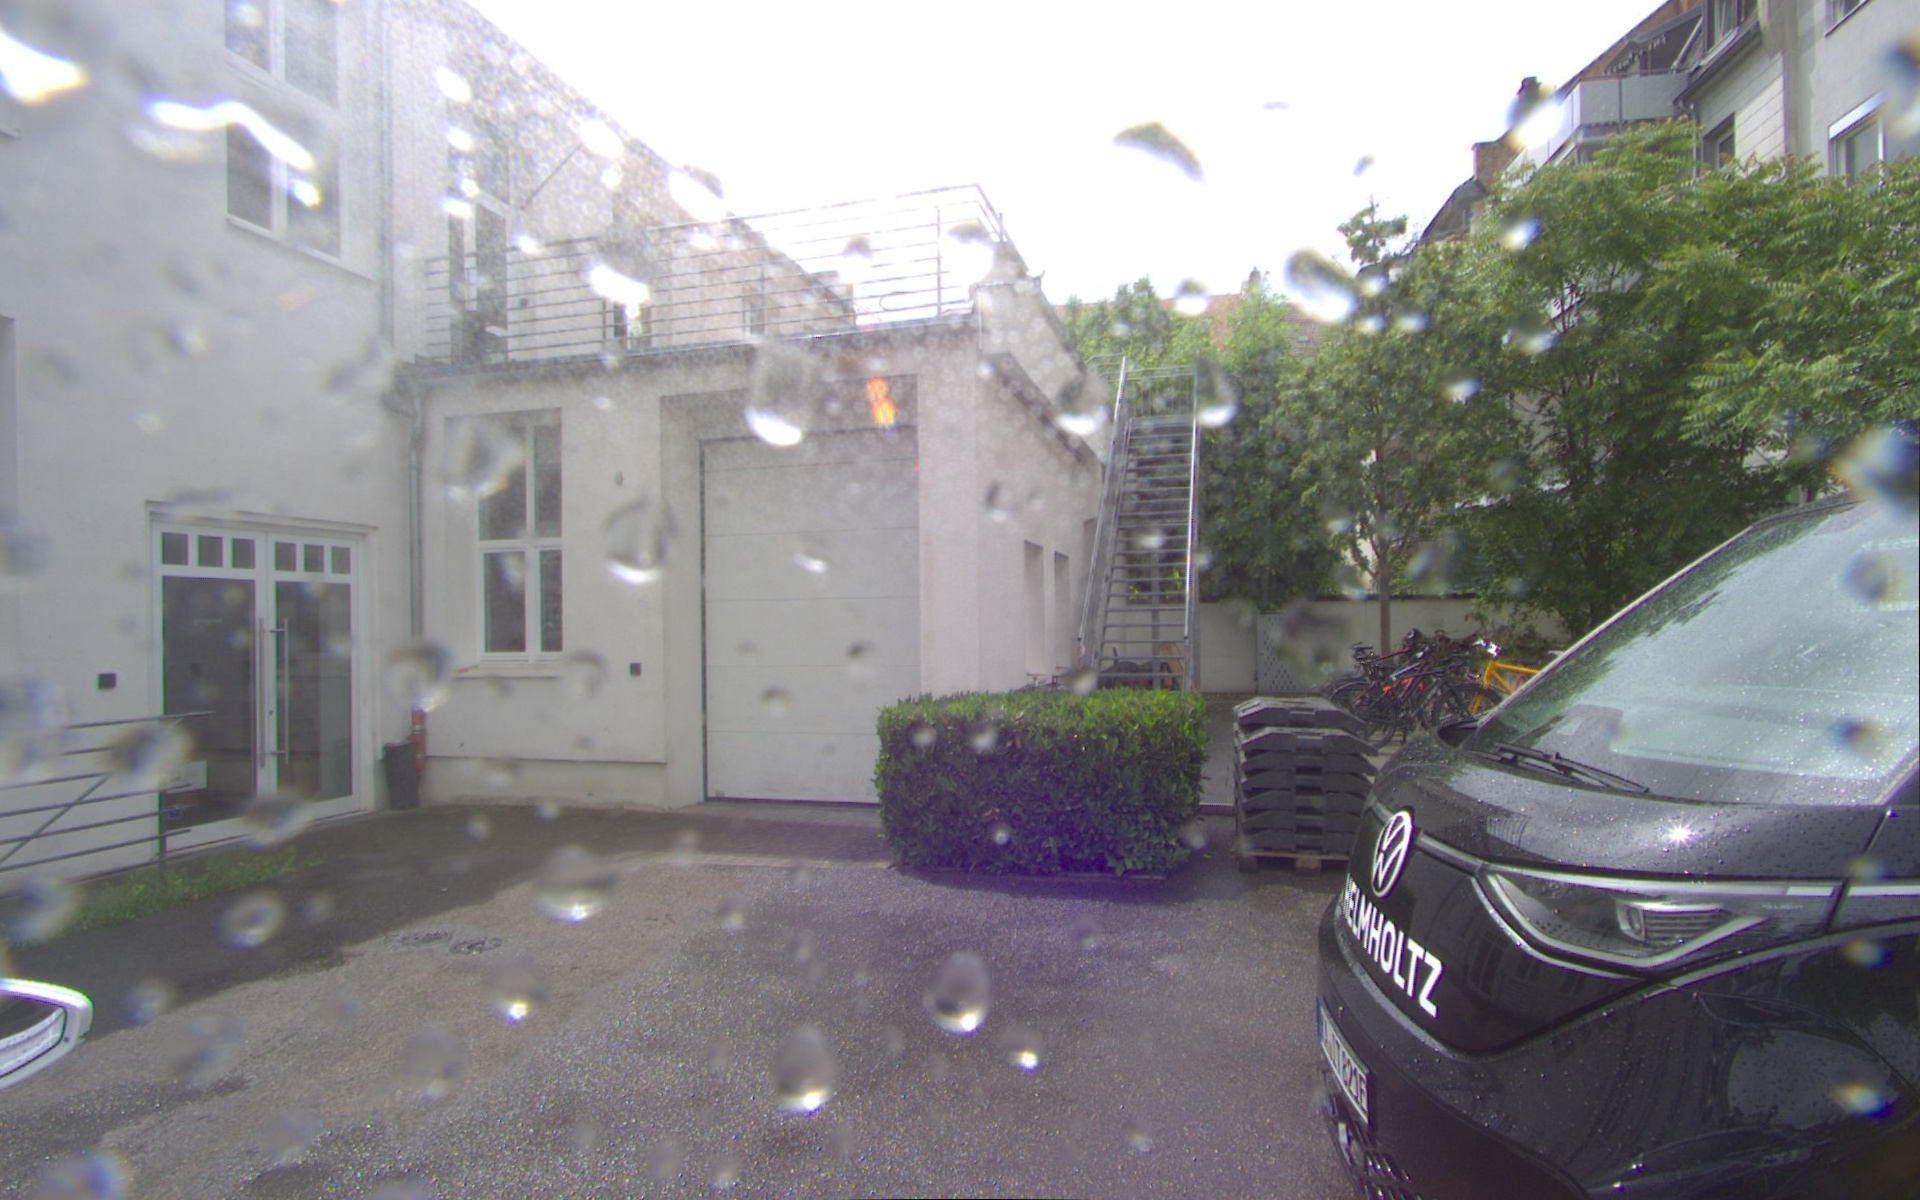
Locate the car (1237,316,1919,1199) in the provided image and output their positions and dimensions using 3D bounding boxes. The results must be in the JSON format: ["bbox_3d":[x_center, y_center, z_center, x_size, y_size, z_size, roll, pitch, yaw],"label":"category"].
[{"bbox_3d":[3.094,0.561,1.963,4.657,1.888,1.971,-2,-1,9],"label":"car"}]

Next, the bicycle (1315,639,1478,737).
[{"bbox_3d":[5.129,1.027,11.814,1.722,1.118,0.333,-1,0,10],"label":"bicycle"}]

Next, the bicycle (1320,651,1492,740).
[{"bbox_3d":[5.087,1.085,11.473,1.762,0.980,0.330,-1,0,10],"label":"bicycle"}]

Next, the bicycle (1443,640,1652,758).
[{"bbox_3d":[5.833,0.967,10.021,1.764,1.118,0.366,-1,0,18],"label":"bicycle"}]

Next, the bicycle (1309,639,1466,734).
[{"bbox_3d":[5.172,1.040,12.171,1.722,1.118,0.342,-1,0,10],"label":"bicycle"}]

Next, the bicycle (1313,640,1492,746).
[{"bbox_3d":[4.841,1.002,11.036,1.764,1.118,0.354,-1,0,18],"label":"bicycle"}]

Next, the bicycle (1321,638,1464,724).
[{"bbox_3d":[5.789,1.078,13.452,1.722,1.118,0.342,-1,0,10],"label":"bicycle"}]

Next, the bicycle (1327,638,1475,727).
[{"bbox_3d":[5.736,1.066,13.080,1.722,1.118,0.355,-1,0,10],"label":"bicycle"}]

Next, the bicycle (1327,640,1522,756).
[{"bbox_3d":[4.705,0.976,10.237,1.764,1.118,0.405,-1,0,18],"label":"bicycle"}]

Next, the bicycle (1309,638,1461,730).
[{"bbox_3d":[5.341,1.053,12.625,1.722,1.118,0.345,-1,0,10],"label":"bicycle"}]

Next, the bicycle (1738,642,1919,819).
[{"bbox_3d":[6.601,0.905,7.506,0.438,1.118,1.795,-3,-1,13],"label":"bicycle"}]
